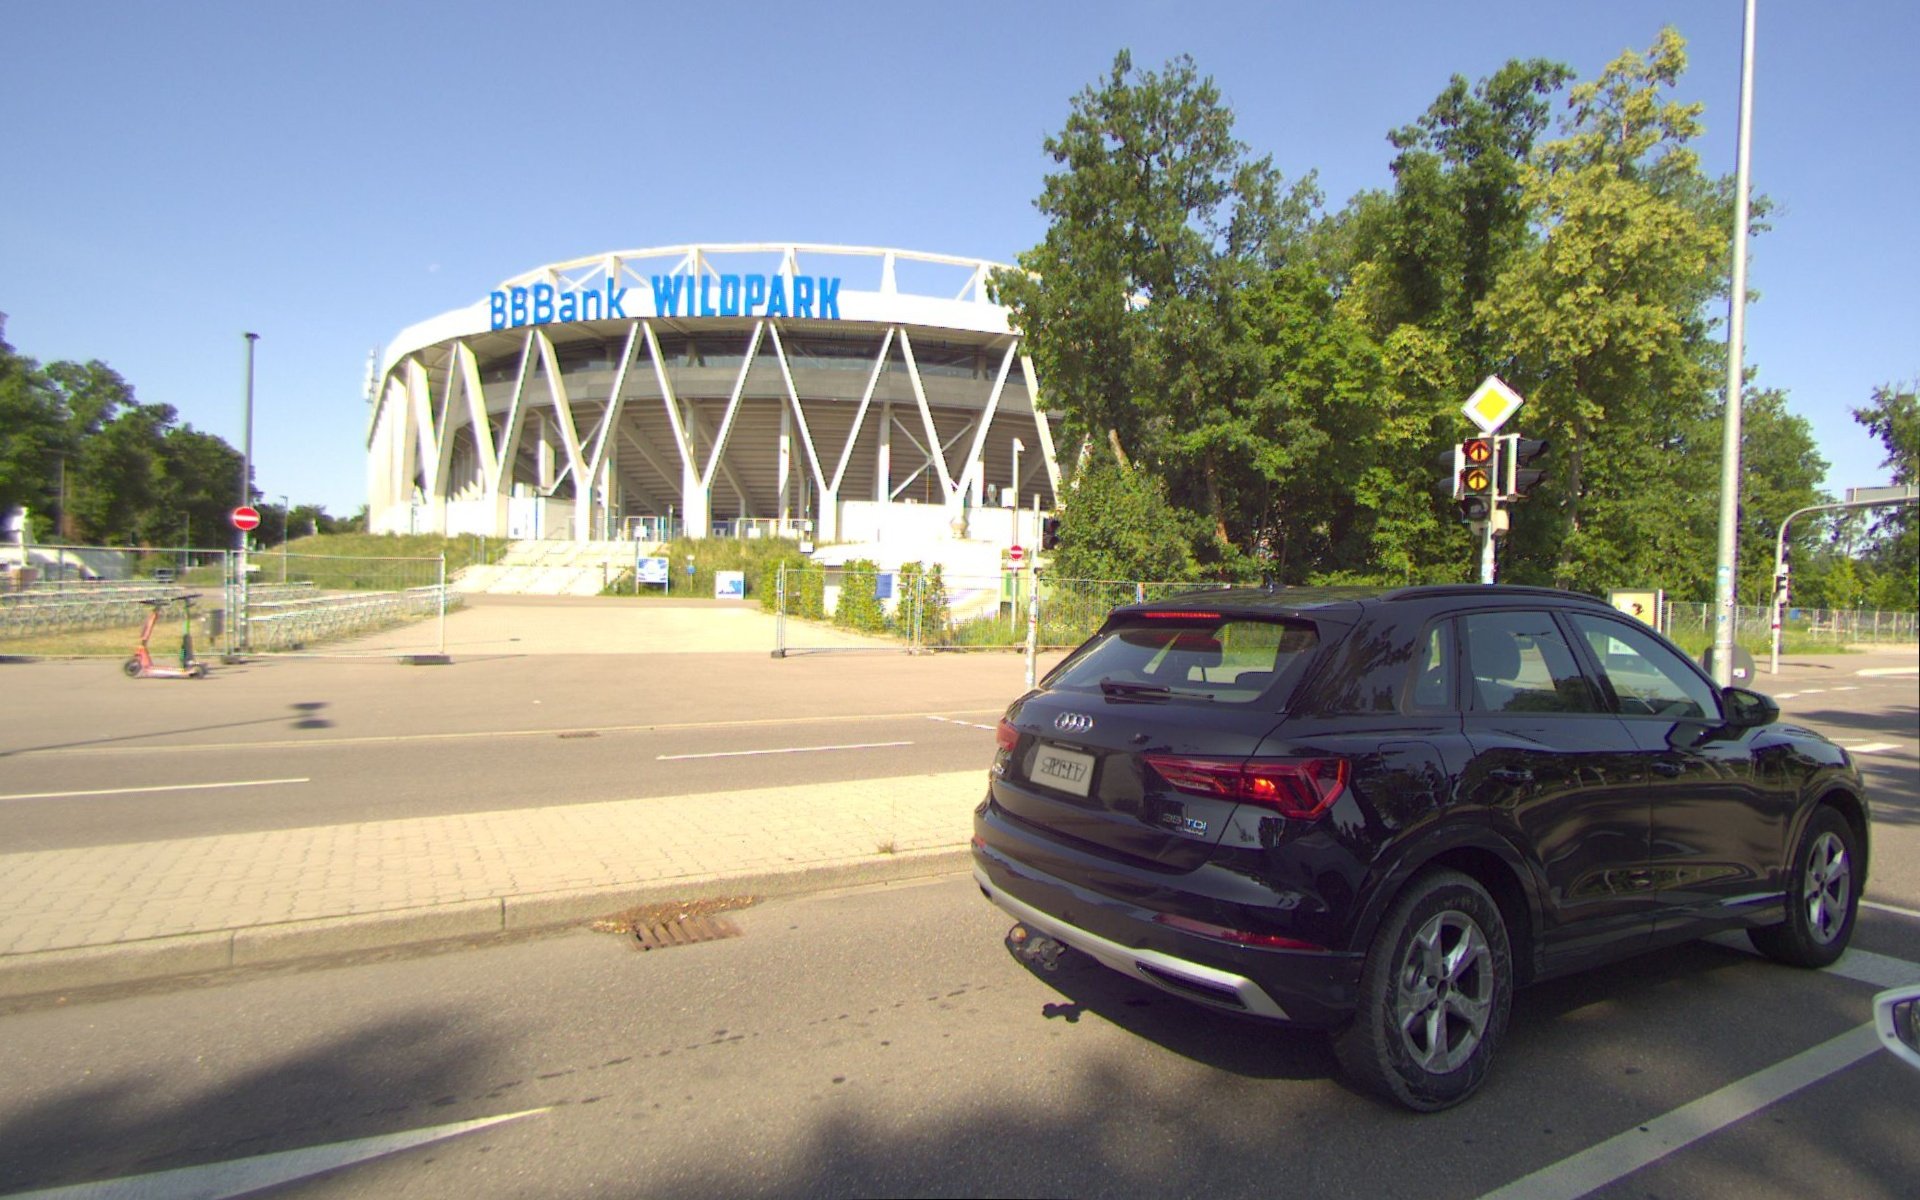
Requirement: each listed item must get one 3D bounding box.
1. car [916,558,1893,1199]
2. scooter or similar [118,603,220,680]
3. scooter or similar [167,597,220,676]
[{"bbox_3d":[2.019,0.720,4.214,4.100,1.565,1.680,1,-1,-30],"label":"car"},{"bbox_3d":[-12.325,0.641,15.679,1.180,1.161,0.393,1,1,-25],"label":"scooter or similar"},{"bbox_3d":[-12.585,0.579,16.493,1.064,1.238,0.395,2,1,36],"label":"scooter or similar"}]
